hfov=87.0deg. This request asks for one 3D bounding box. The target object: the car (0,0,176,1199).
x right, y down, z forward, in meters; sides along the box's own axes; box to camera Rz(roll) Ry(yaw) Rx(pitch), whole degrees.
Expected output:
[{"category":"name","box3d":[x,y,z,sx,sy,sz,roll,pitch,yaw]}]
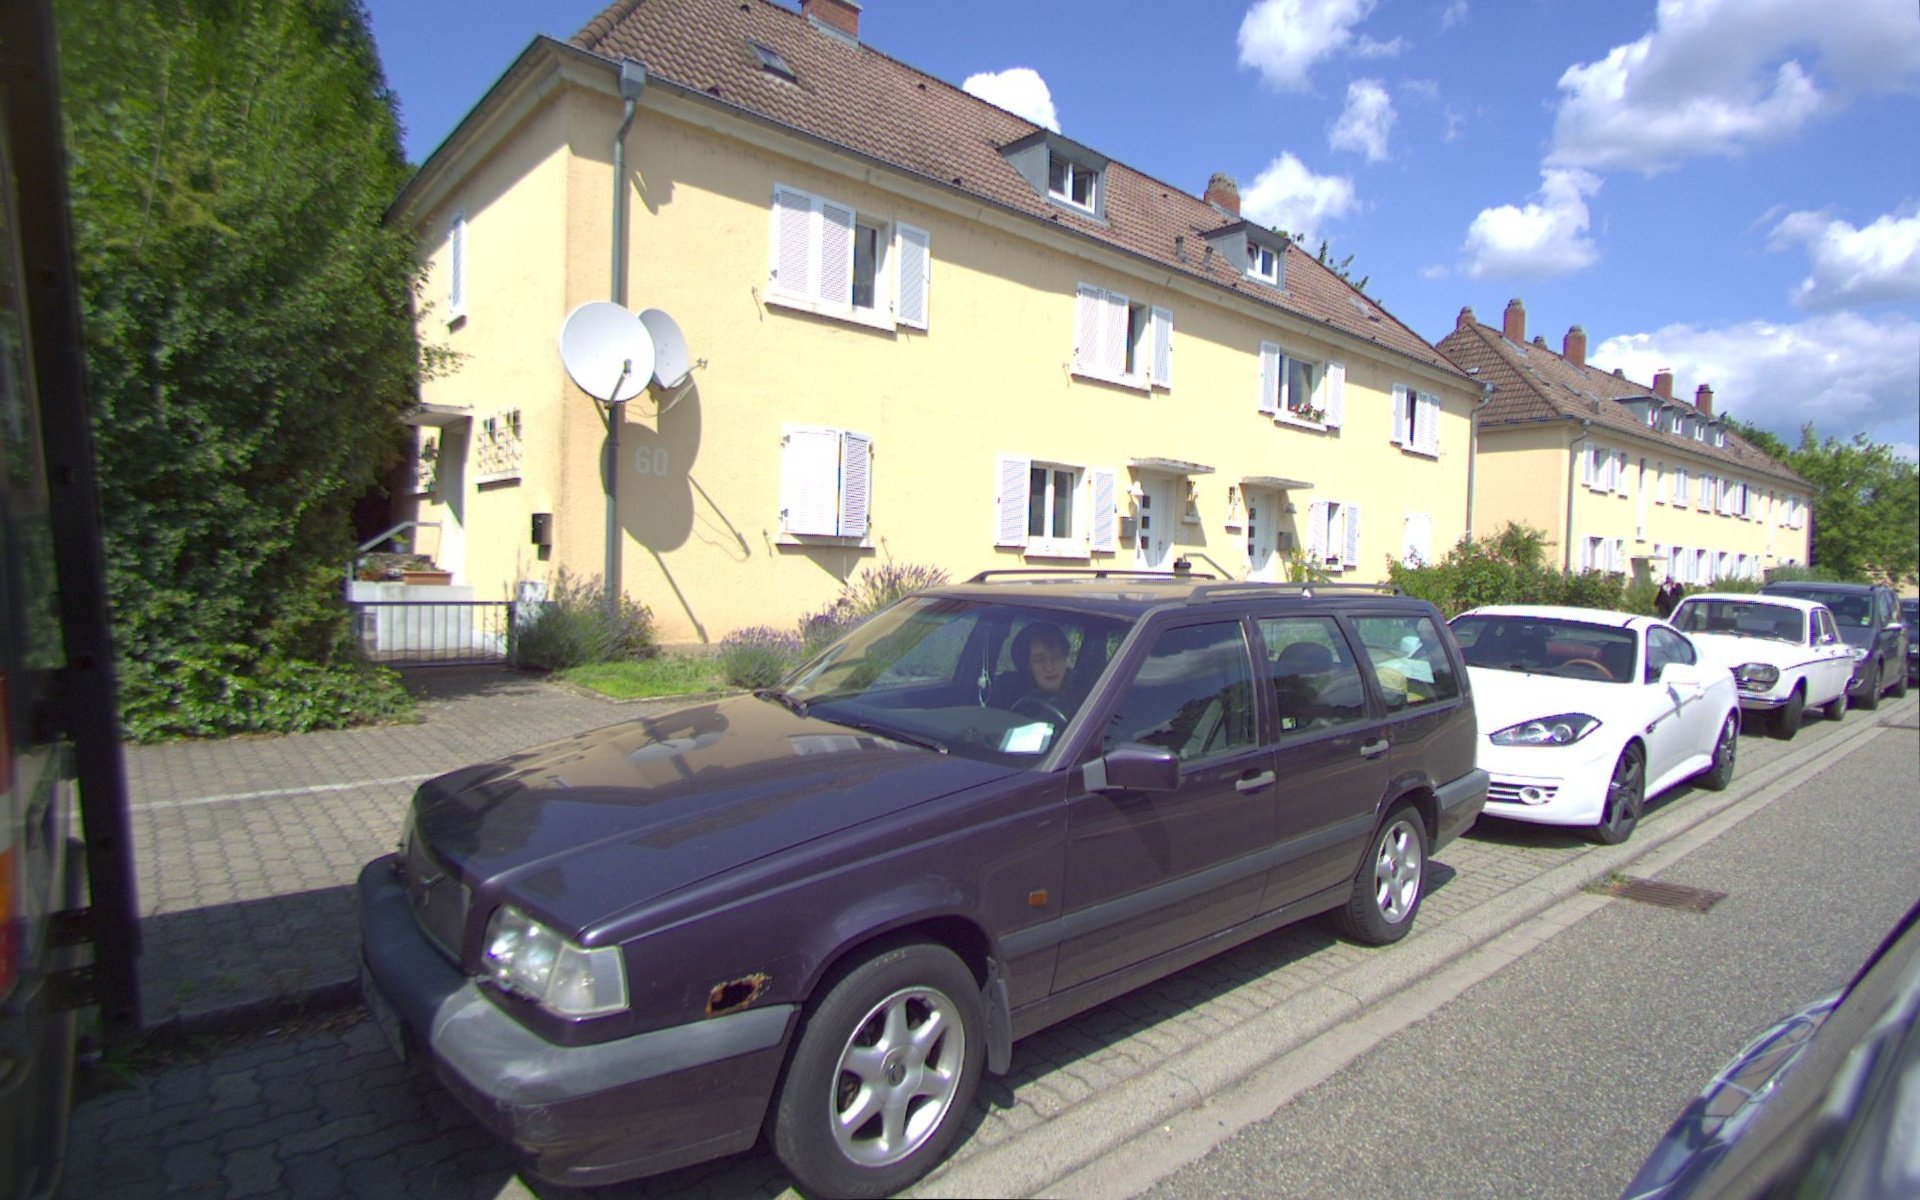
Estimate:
[{"category":"car","box3d":[-3.436,-0.017,0.449,4.793,2.794,2.000,0,3,-41]}]

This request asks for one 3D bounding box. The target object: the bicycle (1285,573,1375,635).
[{"category":"bicycle","box3d":[7.125,0.061,19.565,0.285,1.116,1.693,1,2,-40]}]

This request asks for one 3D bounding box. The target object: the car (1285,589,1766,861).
[{"category":"car","box3d":[4.202,0.640,7.231,4.057,1.311,1.724,0,4,-42]}]

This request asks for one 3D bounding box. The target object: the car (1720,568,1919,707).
[{"category":"car","box3d":[12.499,0.441,14.519,4.197,1.650,1.683,0,4,-42]}]

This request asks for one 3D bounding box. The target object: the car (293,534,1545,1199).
[{"category":"car","box3d":[0.387,0.572,3.894,4.752,1.419,1.725,0,4,-41]}]

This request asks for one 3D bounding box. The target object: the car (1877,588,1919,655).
[{"category":"car","box3d":[23.088,0.500,23.793,3.829,1.446,1.702,0,5,-40]}]

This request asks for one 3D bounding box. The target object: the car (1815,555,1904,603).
[{"category":"car","box3d":[36.577,-0.851,41.132,3.972,1.768,1.928,1,3,-38]}]

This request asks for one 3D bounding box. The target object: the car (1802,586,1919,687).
[{"category":"car","box3d":[16.336,0.552,17.715,4.438,1.454,1.689,-1,5,-41]}]

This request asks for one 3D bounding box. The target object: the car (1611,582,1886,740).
[{"category":"car","box3d":[9.116,0.575,11.594,3.954,1.435,1.654,0,4,-40]}]

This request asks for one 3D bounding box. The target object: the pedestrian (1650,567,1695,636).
[{"category":"pedestrian","box3d":[17.878,0.024,25.393,0.885,1.658,0.617,0,4,-40]}]

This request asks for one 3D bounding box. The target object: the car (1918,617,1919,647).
[{"category":"car","box3d":[26.886,0.507,26.750,4.546,1.507,1.756,0,4,-41]}]
